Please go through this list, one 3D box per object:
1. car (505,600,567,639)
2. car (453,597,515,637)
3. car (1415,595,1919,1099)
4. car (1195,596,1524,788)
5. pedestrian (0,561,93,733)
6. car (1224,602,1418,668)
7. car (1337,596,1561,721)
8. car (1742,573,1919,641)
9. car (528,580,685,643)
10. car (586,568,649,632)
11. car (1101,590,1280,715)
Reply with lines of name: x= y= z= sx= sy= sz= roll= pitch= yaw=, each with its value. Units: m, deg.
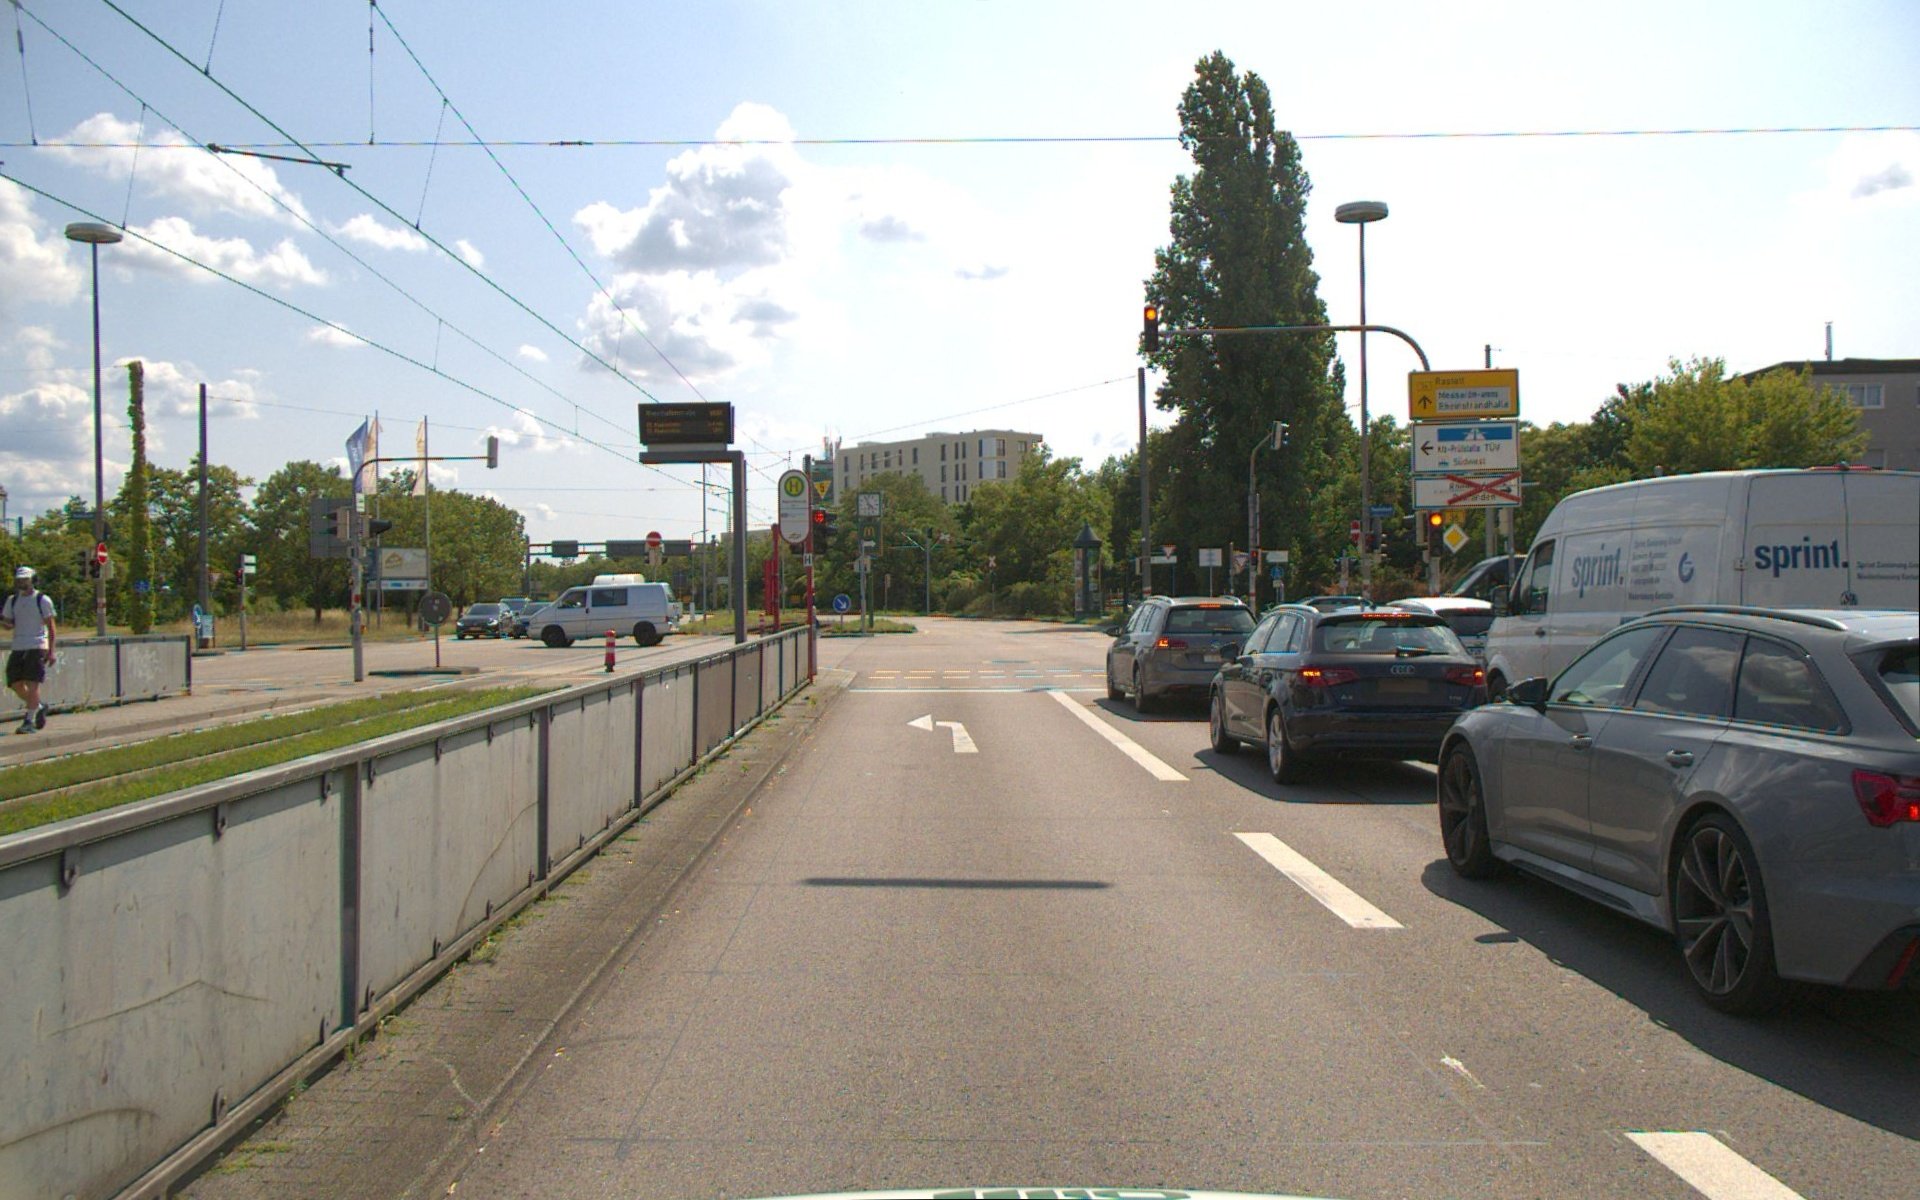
car: x=-17.685 y=0.804 z=69.119 sx=1.859 sy=1.568 sz=3.725 roll=1 pitch=0 yaw=-5
car: x=-20.499 y=0.723 z=71.338 sx=1.826 sy=1.680 sz=3.995 roll=1 pitch=0 yaw=-5
car: x=3.649 y=0.727 z=7.308 sx=1.849 sy=1.473 sz=4.827 roll=0 pitch=0 yaw=-1
car: x=3.324 y=0.694 z=14.609 sx=1.832 sy=1.444 sz=4.098 roll=0 pitch=0 yaw=-1
pedestrian: x=-10.030 y=0.498 z=18.016 sx=0.791 sy=1.826 sz=0.708 roll=-1 pitch=0 yaw=-4
car: x=8.875 y=0.846 z=40.958 sx=4.368 sy=1.540 sz=2.000 roll=1 pitch=0 yaw=0
car: x=6.326 y=0.693 z=21.883 sx=1.709 sy=1.473 sz=4.380 roll=0 pitch=0 yaw=1
car: x=22.345 y=0.159 z=41.406 sx=4.576 sy=1.576 sz=2.001 roll=-1 pitch=0 yaw=4
car: x=-11.203 y=0.357 z=52.714 sx=4.581 sy=1.970 sz=1.999 roll=0 pitch=0 yaw=-1
car: x=-14.867 y=0.005 z=72.073 sx=1.954 sy=2.651 sz=4.875 roll=1 pitch=0 yaw=-4
car: x=3.000 y=0.637 z=22.369 sx=1.709 sy=1.525 sz=4.378 roll=0 pitch=0 yaw=-1
